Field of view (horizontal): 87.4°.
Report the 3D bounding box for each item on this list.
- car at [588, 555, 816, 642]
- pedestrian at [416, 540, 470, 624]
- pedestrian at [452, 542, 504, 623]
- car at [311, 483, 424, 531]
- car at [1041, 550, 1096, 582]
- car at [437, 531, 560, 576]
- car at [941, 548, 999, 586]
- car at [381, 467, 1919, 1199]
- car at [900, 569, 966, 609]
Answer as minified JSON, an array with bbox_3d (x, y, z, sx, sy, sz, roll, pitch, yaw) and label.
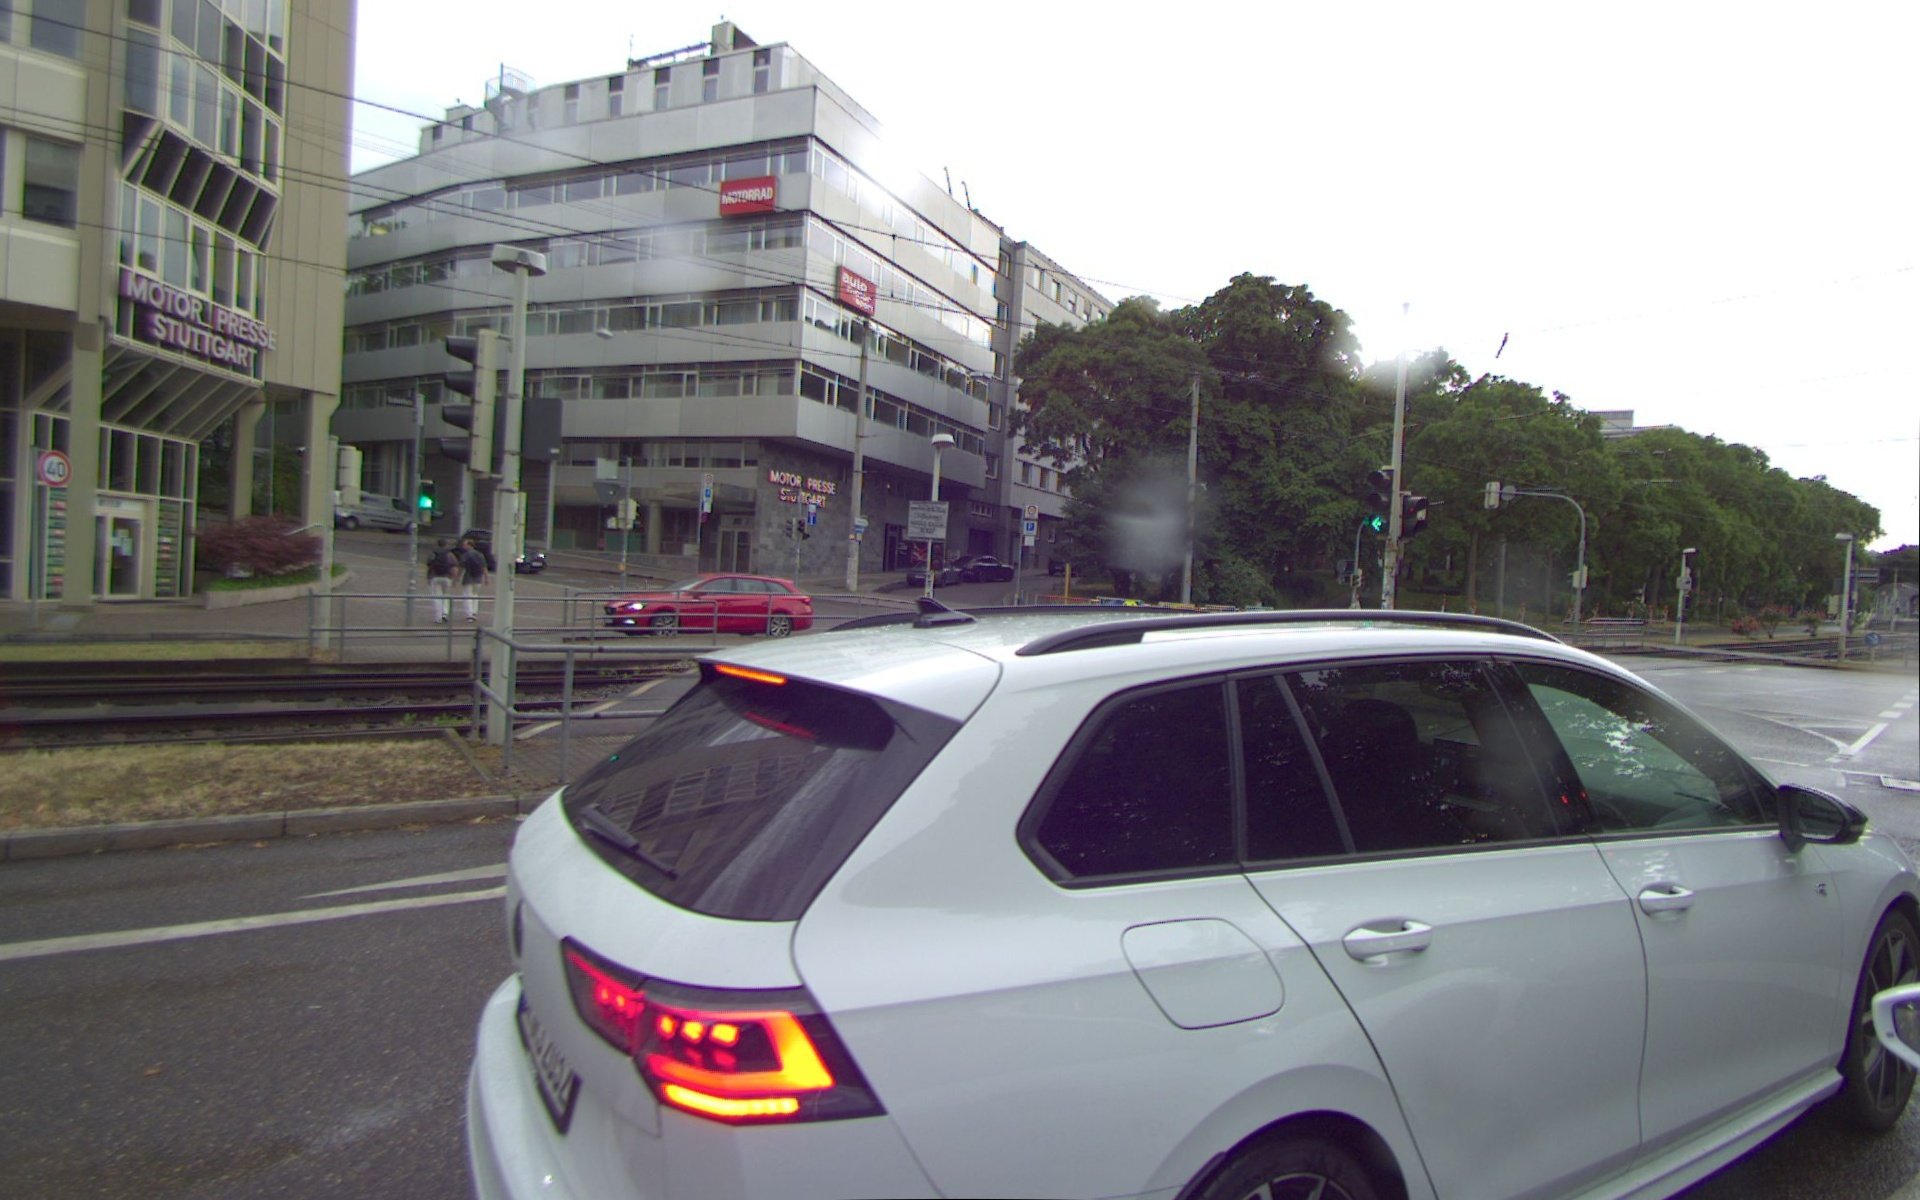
[{"bbox_3d":[-5.590,-0.008,22.006,4.378,1.662,1.965,2,2,-38],"label":"car"},{"bbox_3d":[-11.551,-0.387,22.445,0.630,1.811,0.808,6,3,36],"label":"pedestrian"},{"bbox_3d":[-11.116,-0.400,23.182,0.630,1.811,0.808,6,3,36],"label":"pedestrian"},{"bbox_3d":[-31.223,-4.864,53.094,1.963,2.040,4.831,5,2,26],"label":"car"},{"bbox_3d":[7.182,-2.224,66.367,1.964,1.818,4.202,5,2,30],"label":"car"},{"bbox_3d":[-17.308,-1.738,37.721,3.920,1.383,1.830,5,2,16],"label":"car"},{"bbox_3d":[0.588,-1.873,56.082,1.961,1.818,3.998,5,5,19],"label":"car"},{"bbox_3d":[0.867,0.702,2.716,4.203,1.597,1.670,1,1,-31],"label":"car"},{"bbox_3d":[-1.313,-0.563,51.220,1.961,1.818,4.000,5,2,19],"label":"car"}]
